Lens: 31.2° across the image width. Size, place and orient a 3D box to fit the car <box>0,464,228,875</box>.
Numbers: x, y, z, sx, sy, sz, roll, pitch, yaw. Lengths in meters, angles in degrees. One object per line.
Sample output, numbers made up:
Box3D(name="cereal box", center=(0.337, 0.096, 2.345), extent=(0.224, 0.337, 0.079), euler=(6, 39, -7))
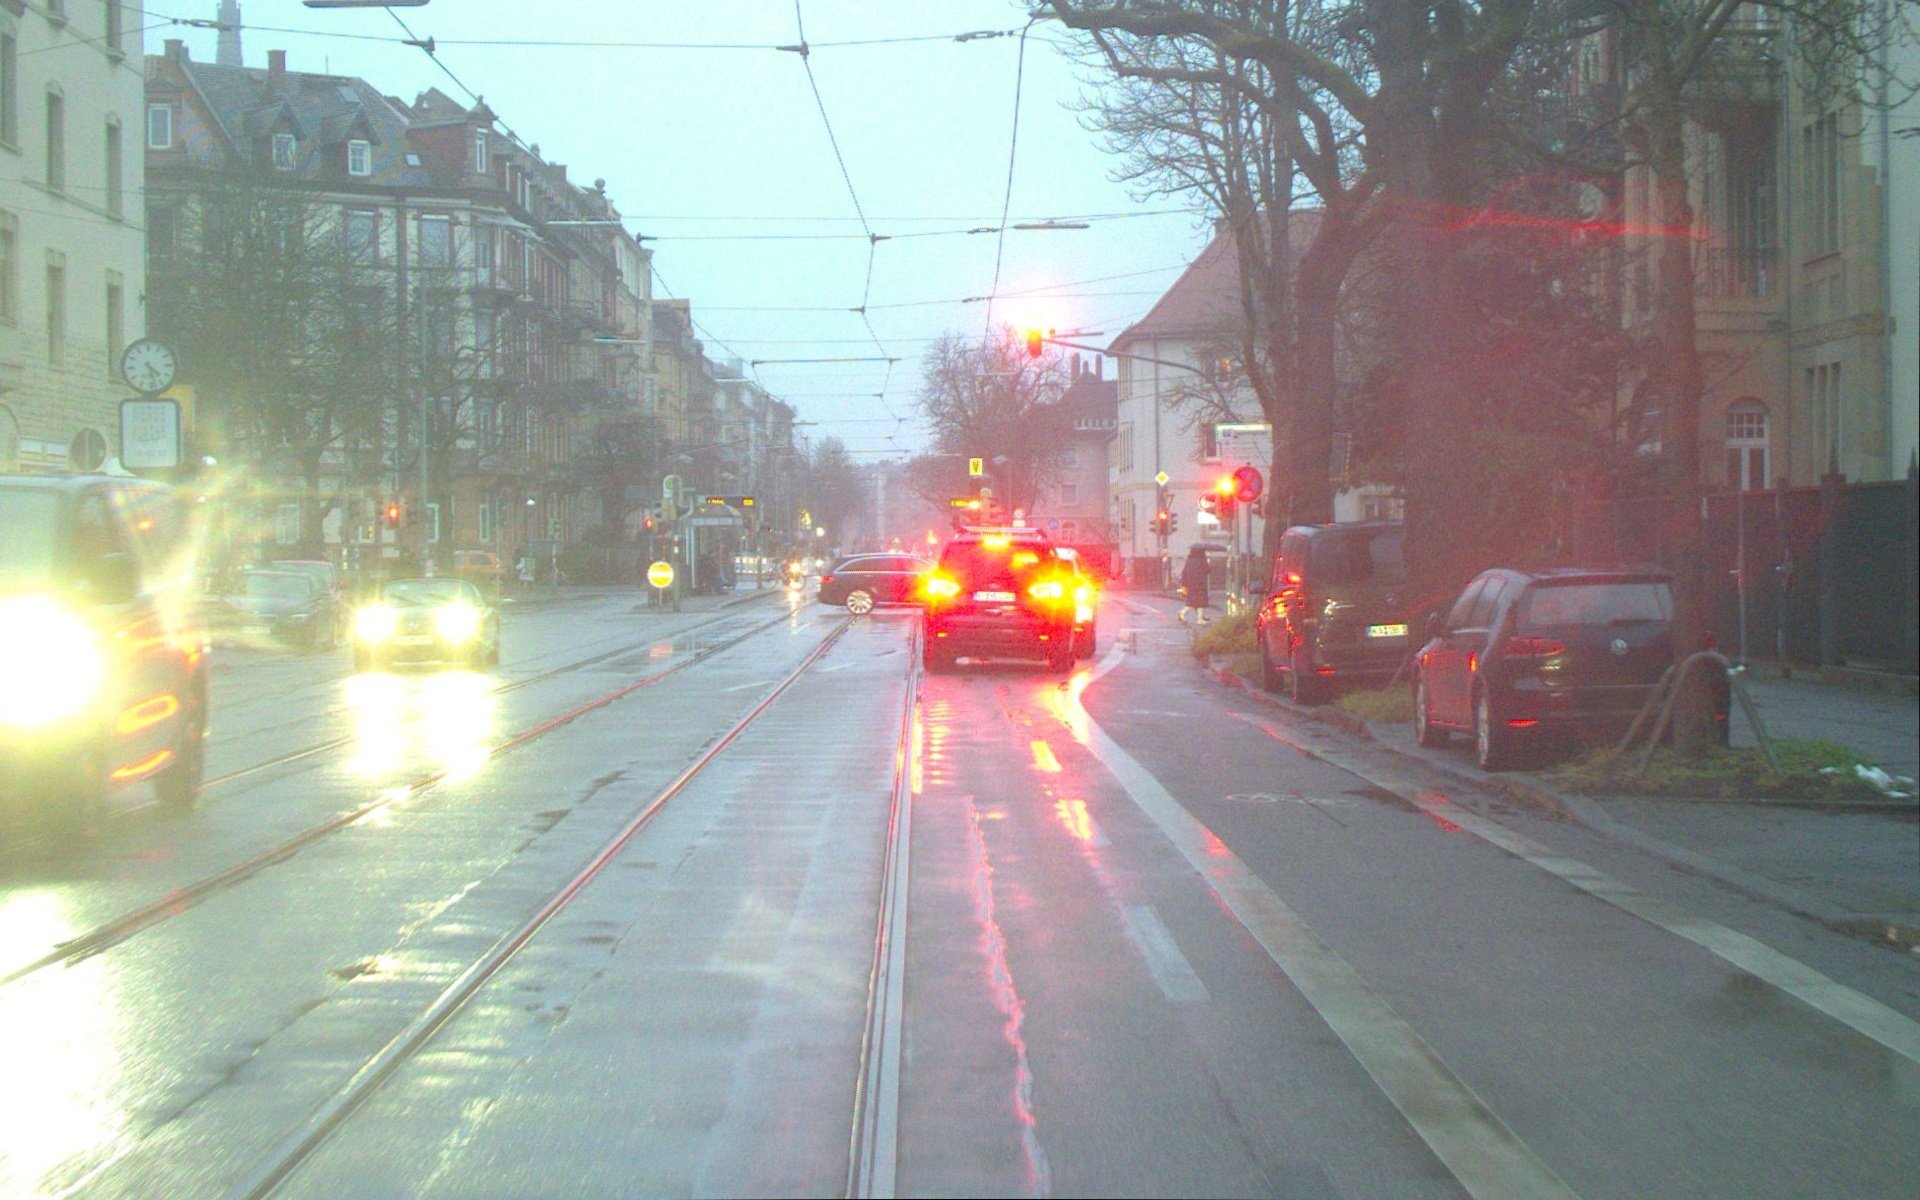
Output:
Box3D(name="car", center=(-5.425, 0.267, 18.542), extent=(2.046, 1.915, 5.101), euler=(-1, 2, -3))

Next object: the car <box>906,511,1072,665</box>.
Box3D(name="car", center=(0.319, -0.149, 44.807), extent=(1.993, 1.890, 4.759), euler=(0, 0, -1))

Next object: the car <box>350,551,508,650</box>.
Box3D(name="car", center=(-7.193, -0.024, 46.862), extent=(1.660, 1.194, 3.875), euler=(-1, 2, -2))

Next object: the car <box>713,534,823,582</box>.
Box3D(name="car", center=(-7.343, -1.608, 131.398), extent=(3.986, 1.711, 1.904), euler=(-1, 2, -9))

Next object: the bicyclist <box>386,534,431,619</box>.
Box3D(name="bicyclist", center=(-10.613, -0.455, 66.186), extent=(0.716, 1.597, 0.931), euler=(-1, 2, -3))

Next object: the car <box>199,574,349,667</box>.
Box3D(name="car", center=(-11.981, 0.334, 60.245), extent=(1.833, 1.442, 4.001), euler=(-1, 2, -1))

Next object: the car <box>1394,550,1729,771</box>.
Box3D(name="car", center=(4.388, 0.384, 25.646), extent=(1.677, 1.455, 4.043), euler=(-1, 1, -1))

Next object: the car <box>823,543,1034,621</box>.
Box3D(name="car", center=(-0.732, -0.443, 82.006), extent=(4.945, 1.711, 1.698), euler=(-1, 2, 1))

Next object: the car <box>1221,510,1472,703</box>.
Box3D(name="car", center=(4.096, -0.003, 37.214), extent=(1.993, 1.894, 5.028), euler=(-1, 2, -1))

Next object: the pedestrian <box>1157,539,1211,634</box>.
Box3D(name="pedestrian", center=(4.877, -0.301, 74.875), extent=(1.022, 2.006, 0.919), euler=(-1, 2, -4))
